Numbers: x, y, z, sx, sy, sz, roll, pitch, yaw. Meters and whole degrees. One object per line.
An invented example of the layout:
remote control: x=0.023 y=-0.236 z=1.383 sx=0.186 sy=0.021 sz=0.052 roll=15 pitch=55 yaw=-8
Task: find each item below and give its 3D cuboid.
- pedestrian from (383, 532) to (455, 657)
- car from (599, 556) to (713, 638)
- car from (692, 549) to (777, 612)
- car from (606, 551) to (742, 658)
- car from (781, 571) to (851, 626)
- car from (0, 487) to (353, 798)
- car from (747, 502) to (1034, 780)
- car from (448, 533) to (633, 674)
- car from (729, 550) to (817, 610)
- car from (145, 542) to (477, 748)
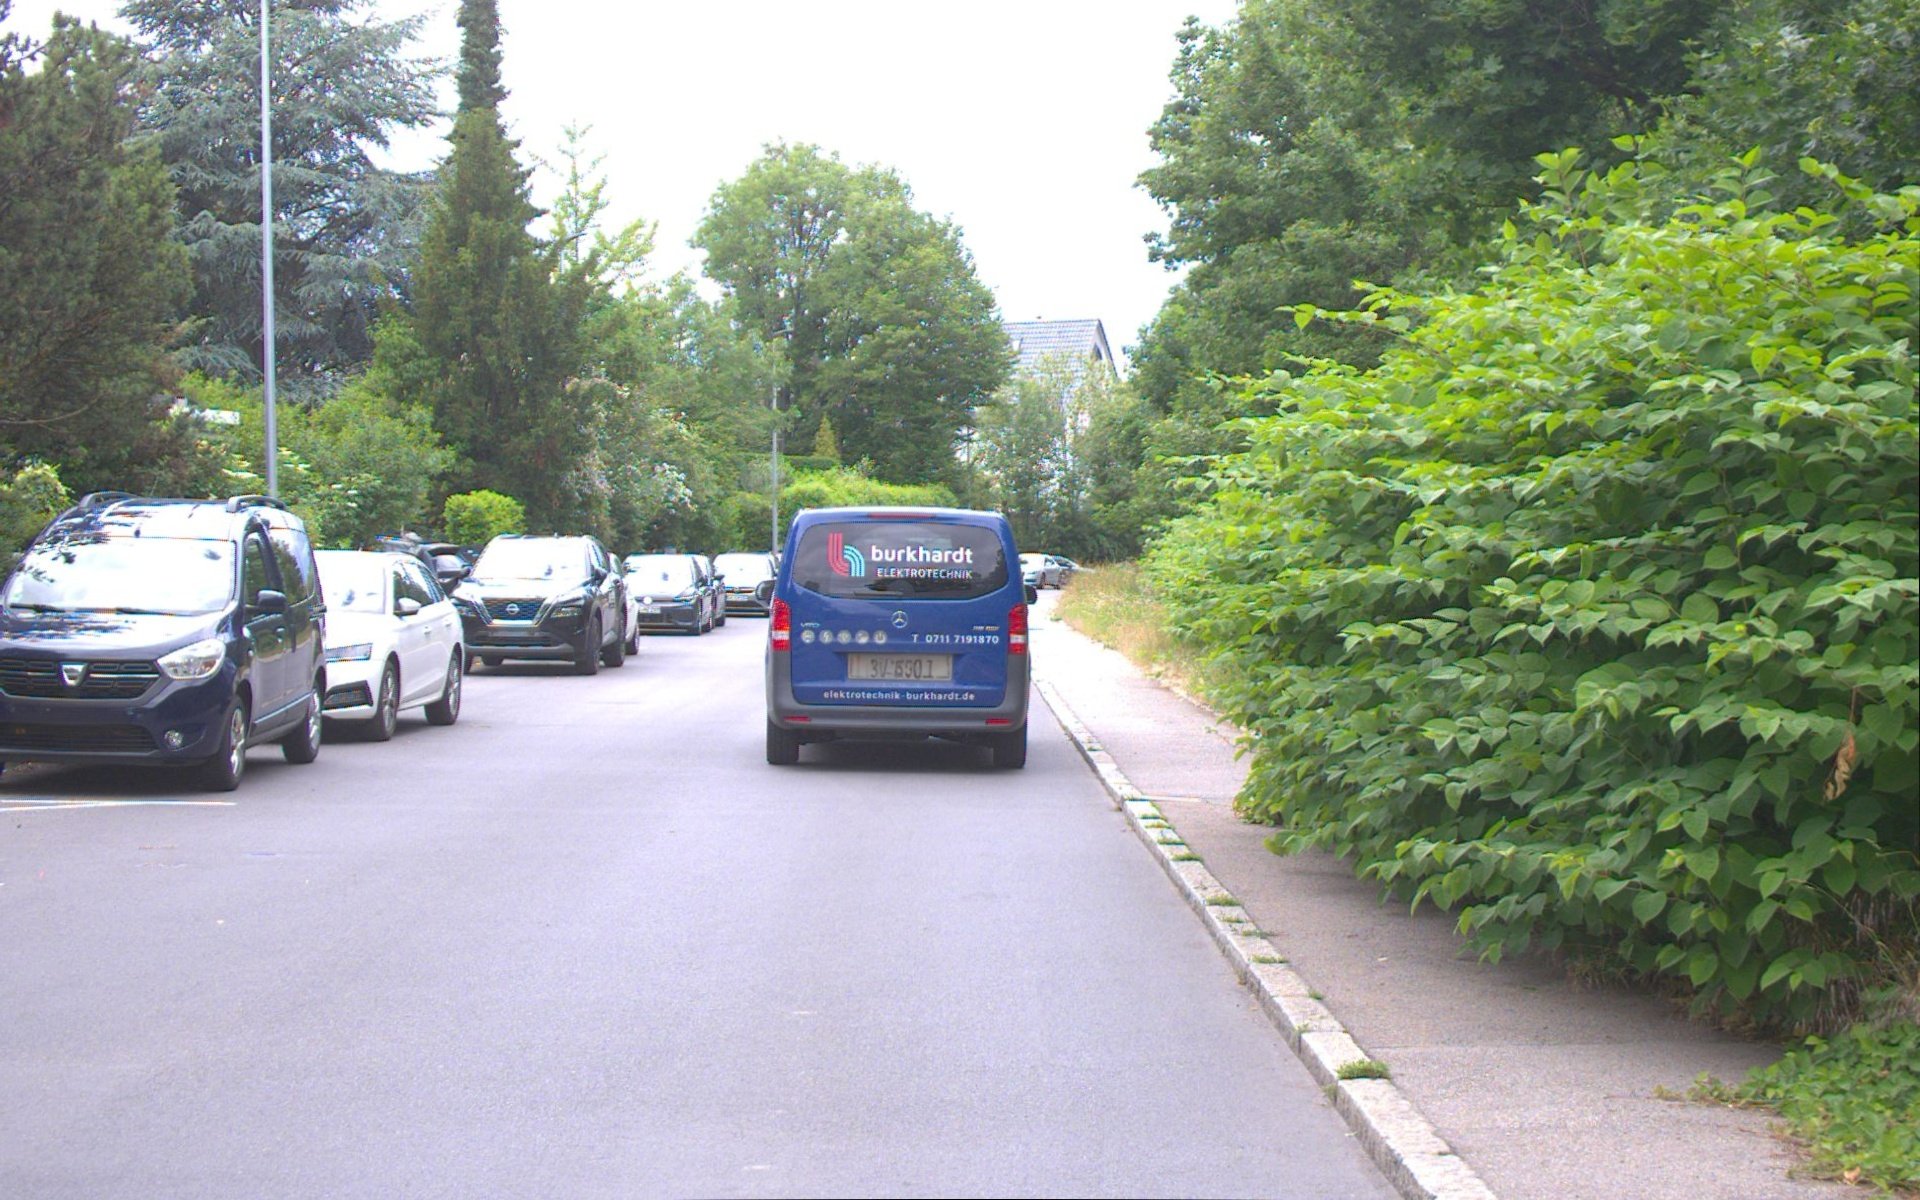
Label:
pedestrian: x=-6.909 y=-0.077 z=43.925 sx=0.769 sy=1.569 sz=0.820 roll=1 pitch=1 yaw=1
car: x=-5.489 y=-0.078 z=62.463 sx=1.707 sy=1.411 sz=4.150 roll=1 pitch=1 yaw=-1
car: x=-5.200 y=-0.468 z=79.555 sx=1.707 sy=1.405 sz=4.161 roll=1 pitch=1 yaw=-1
car: x=-4.245 y=0.035 z=51.469 sx=1.707 sy=1.506 sz=3.946 roll=1 pitch=1 yaw=-1
car: x=-4.108 y=-0.052 z=98.242 sx=1.544 sy=1.509 sz=3.643 roll=1 pitch=1 yaw=4
car: x=-5.194 y=0.213 z=22.246 sx=1.707 sy=1.793 sz=4.298 roll=1 pitch=1 yaw=0
car: x=-0.536 y=0.246 z=25.809 sx=1.936 sy=1.873 sz=4.531 roll=1 pitch=1 yaw=-2
car: x=-5.216 y=0.009 z=43.235 sx=1.791 sy=1.658 sz=4.392 roll=1 pitch=1 yaw=-1
car: x=-4.886 y=-0.549 z=90.208 sx=1.707 sy=1.509 sz=4.363 roll=1 pitch=1 yaw=4
car: x=-5.171 y=0.304 z=27.971 sx=1.707 sy=1.506 sz=4.554 roll=1 pitch=1 yaw=1
